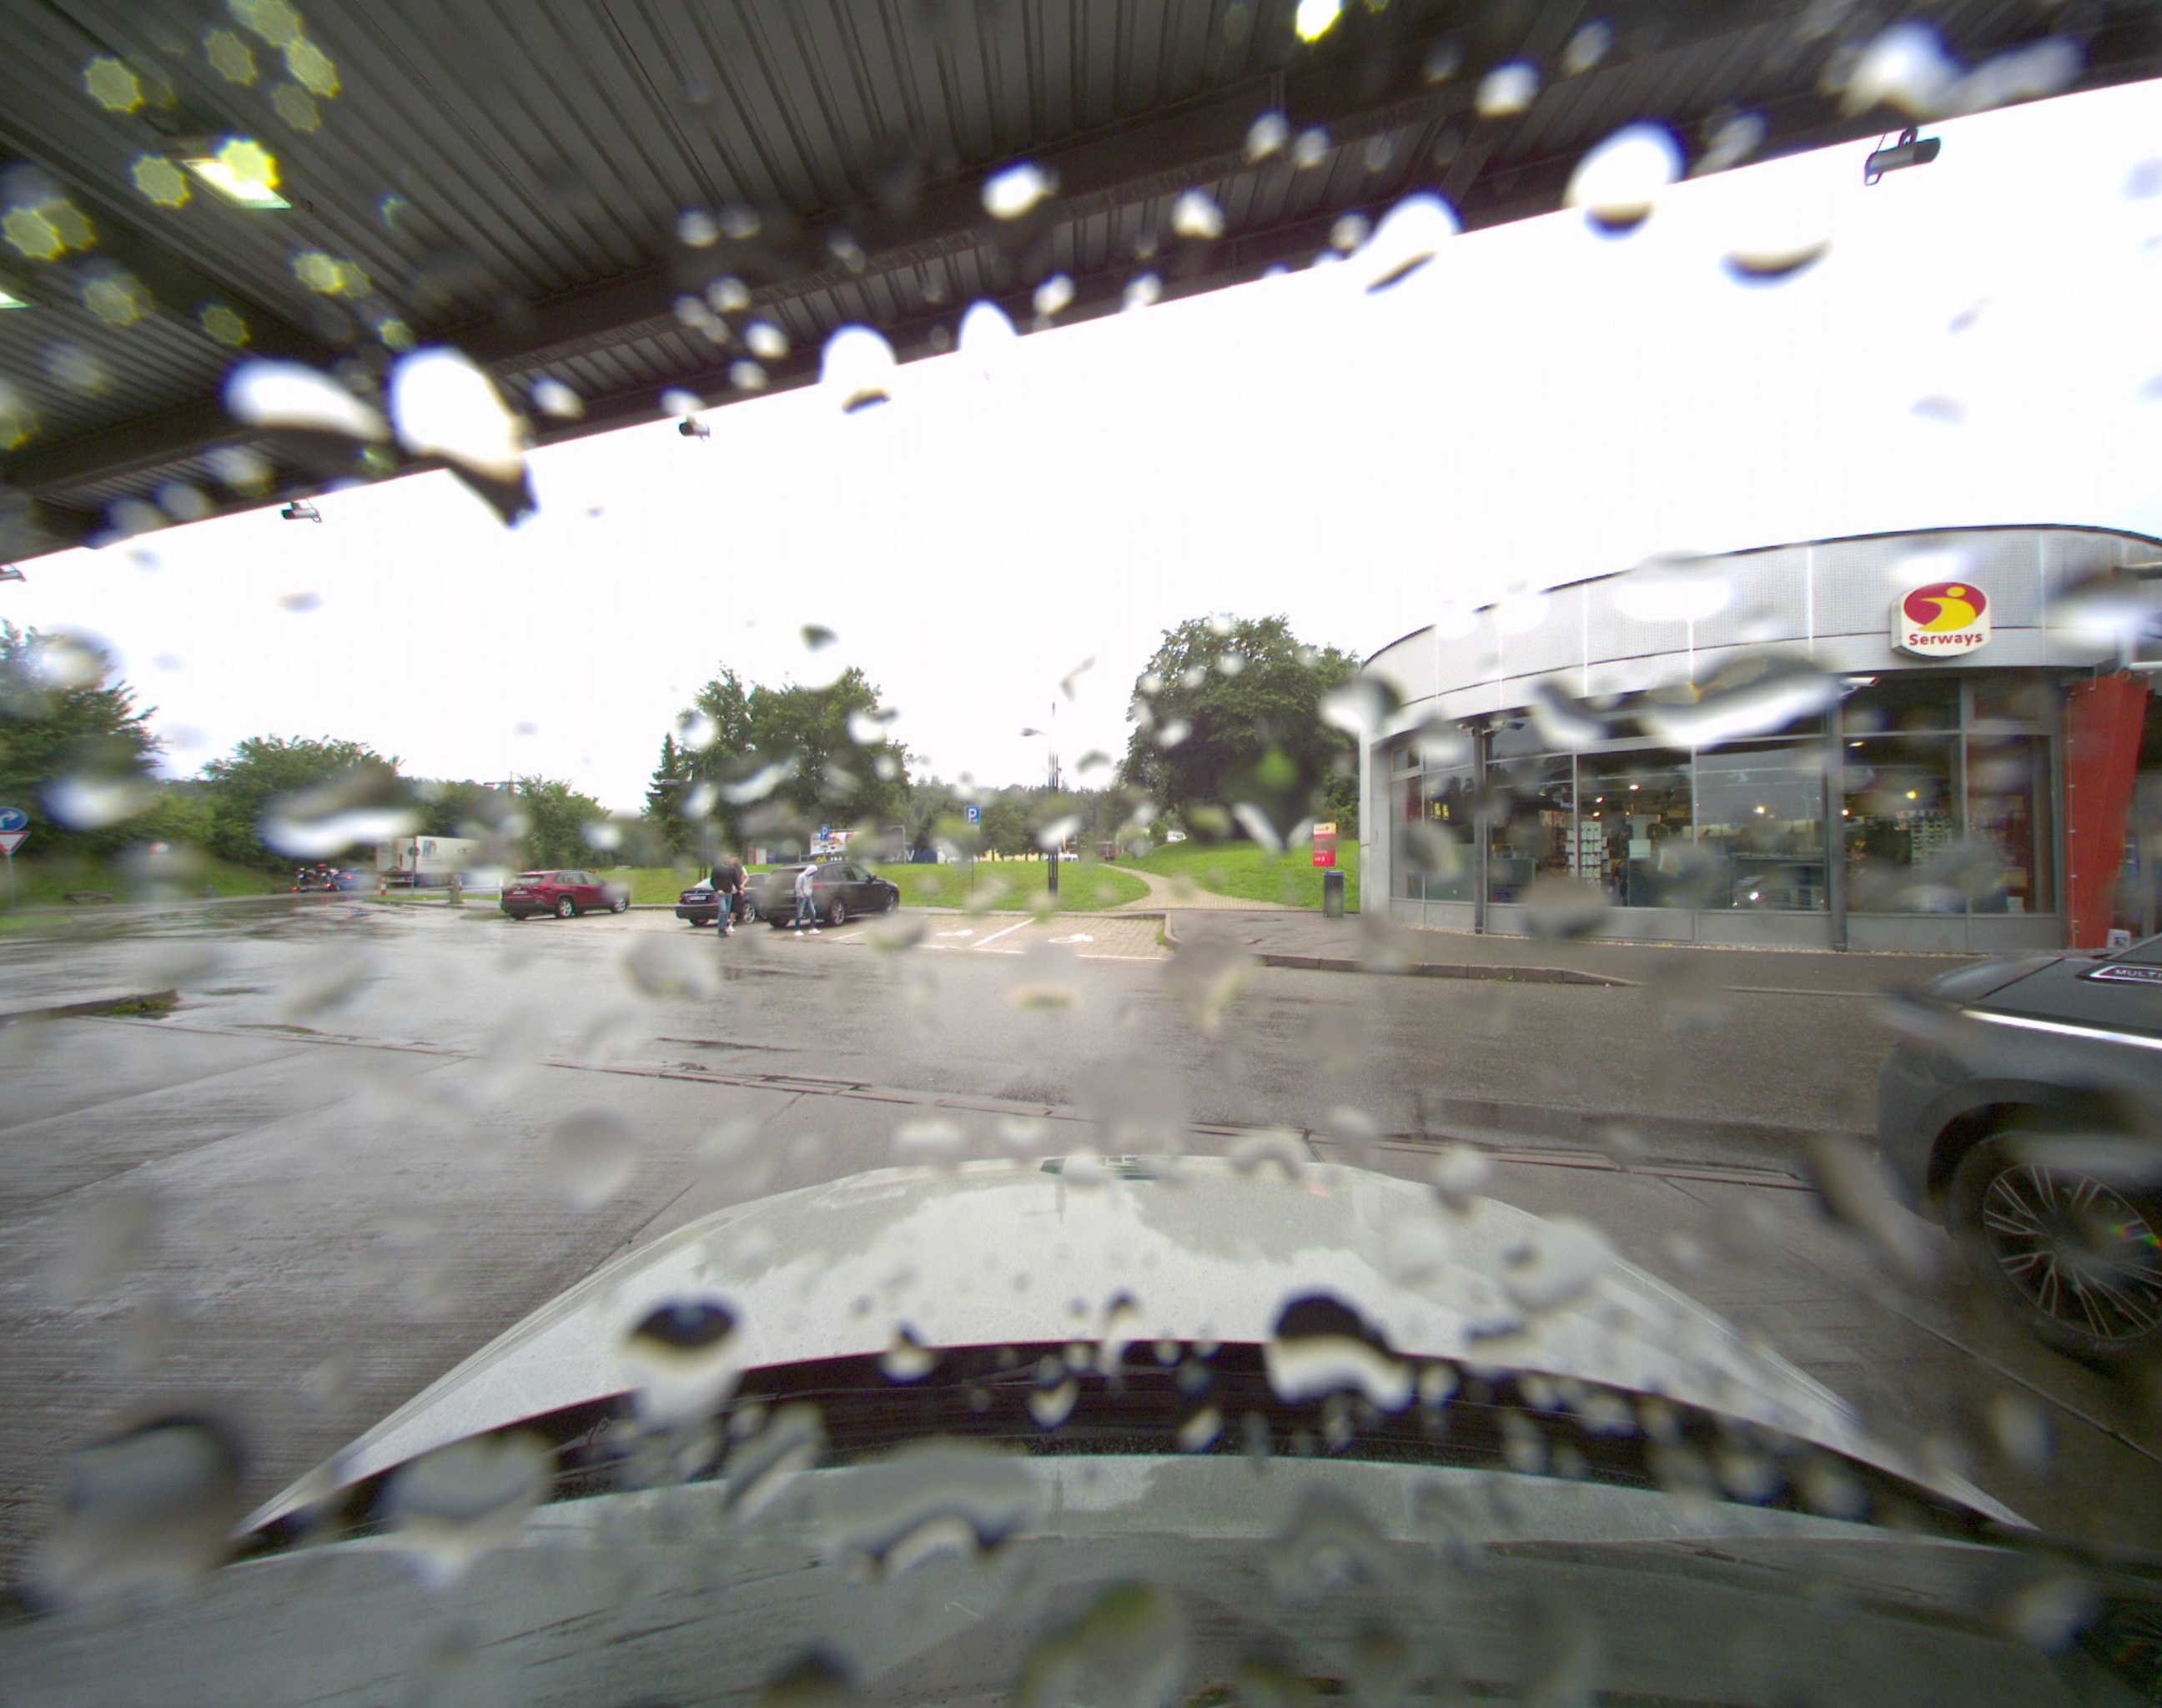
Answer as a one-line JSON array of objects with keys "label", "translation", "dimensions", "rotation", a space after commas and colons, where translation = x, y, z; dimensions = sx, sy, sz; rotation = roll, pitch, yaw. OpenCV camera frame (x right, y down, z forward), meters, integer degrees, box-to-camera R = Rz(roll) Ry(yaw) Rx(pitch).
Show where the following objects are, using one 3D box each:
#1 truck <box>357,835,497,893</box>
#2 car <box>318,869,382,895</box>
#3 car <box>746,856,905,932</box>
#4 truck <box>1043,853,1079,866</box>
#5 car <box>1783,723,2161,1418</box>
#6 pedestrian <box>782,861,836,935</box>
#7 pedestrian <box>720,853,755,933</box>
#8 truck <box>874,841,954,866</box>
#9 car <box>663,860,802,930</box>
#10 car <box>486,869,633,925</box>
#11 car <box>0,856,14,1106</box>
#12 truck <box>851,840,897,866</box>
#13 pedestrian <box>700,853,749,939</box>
[{"label": "truck", "translation": [-55.446, 0.837, 69.981], "dimensions": [3.550, 4.340, 16.899], "rotation": [0, -1, -18]}, {"label": "car", "translation": [-50.345, 1.876, 56.177], "dimensions": [1.814, 1.681, 3.927], "rotation": [0, -1, -18]}, {"label": "car", "translation": [-6.649, 0.971, 21.785], "dimensions": [2.002, 1.711, 4.360], "rotation": [-2, 0, 14]}, {"label": "truck", "translation": [-3.251, 0.881, 134.110], "dimensions": [5.356, 2.014, 2.381], "rotation": [-1, -1, 26]}, {"label": "car", "translation": [3.674, 0.543, 0.683], "dimensions": [1.854, 1.798, 5.142], "rotation": [0, -1, 2]}, {"label": "pedestrian", "translation": [-6.204, 0.976, 18.568], "dimensions": [0.942, 1.631, 0.708], "rotation": [-1, -1, 31]}, {"label": "pedestrian", "translation": [-8.399, 0.931, 19.967], "dimensions": [0.703, 1.887, 0.948], "rotation": [0, -1, -18]}, {"label": "truck", "translation": [-20.755, -0.054, 102.352], "dimensions": [2.165, 2.920, 13.175], "rotation": [-1, -1, 26]}, {"label": "car", "translation": [-9.835, 1.081, 23.430], "dimensions": [2.010, 1.711, 4.344], "rotation": [-2, 0, 1]}, {"label": "car", "translation": [-18.138, 1.440, 28.597], "dimensions": [1.928, 1.644, 4.352], "rotation": [-2, 0, 7]}, {"label": "car", "translation": [-7.968, 0.801, 2.681], "dimensions": [1.854, 1.608, 5.273], "rotation": [0, -1, 2]}, {"label": "truck", "translation": [-24.187, -0.086, 95.460], "dimensions": [2.165, 2.920, 5.419], "rotation": [-1, -1, 27]}, {"label": "pedestrian", "translation": [-8.050, 0.921, 18.385], "dimensions": [0.882, 1.887, 0.708], "rotation": [-1, -1, 41]}]
